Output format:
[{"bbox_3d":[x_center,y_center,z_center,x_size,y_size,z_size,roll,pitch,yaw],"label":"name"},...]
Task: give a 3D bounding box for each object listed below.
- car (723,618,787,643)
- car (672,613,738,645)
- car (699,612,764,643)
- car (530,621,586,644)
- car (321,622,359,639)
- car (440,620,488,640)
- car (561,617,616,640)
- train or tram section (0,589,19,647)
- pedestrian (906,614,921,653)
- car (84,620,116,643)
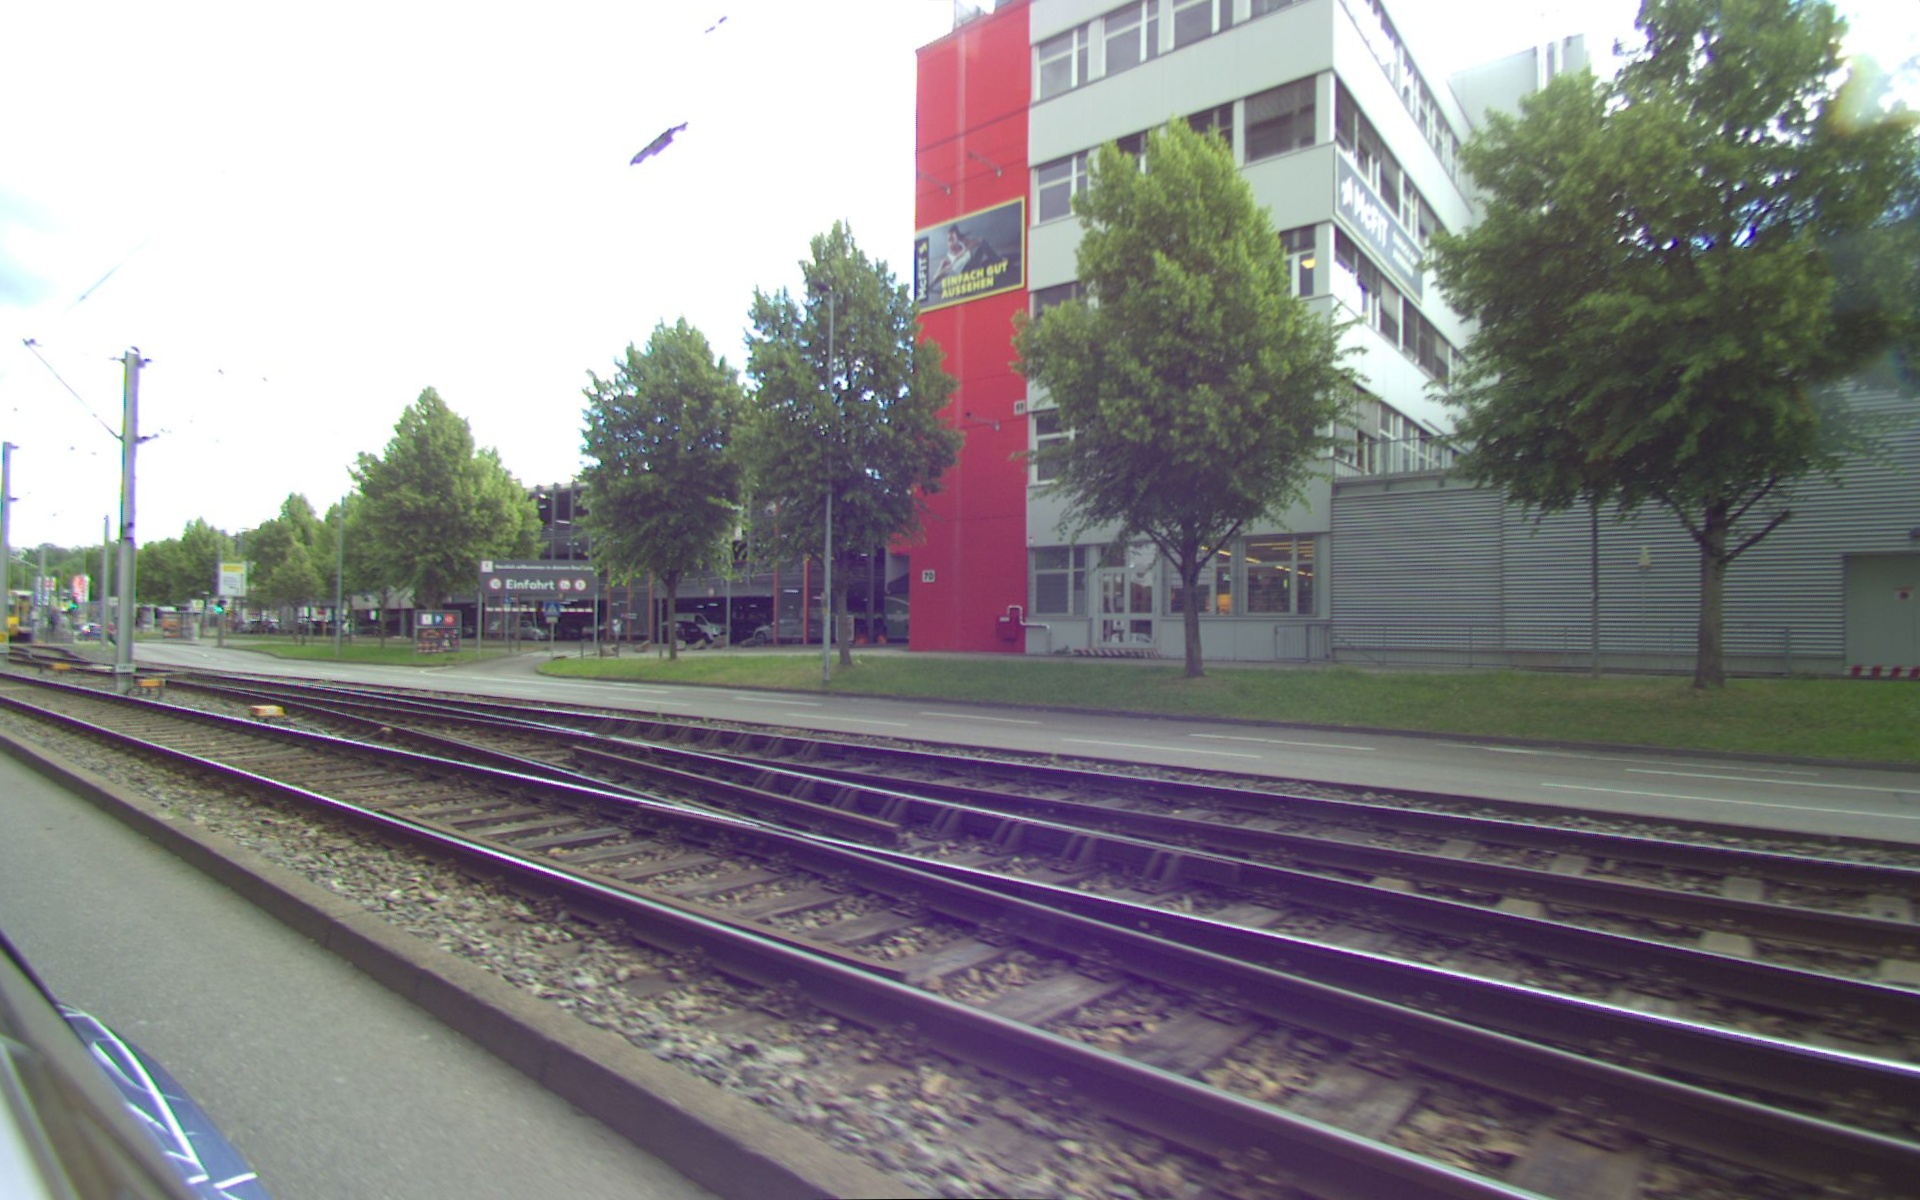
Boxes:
[{"bbox_3d":[-14.093,2.083,69.389,4.400,1.662,1.974,-1,-2,39],"label":"car"},{"bbox_3d":[-16.620,1.903,65.919,4.400,2.029,1.974,-1,-2,39],"label":"car"},{"bbox_3d":[-15.307,1.848,67.715,4.400,2.029,1.974,-1,-2,39],"label":"car"},{"bbox_3d":[-29.999,2.383,75.426,4.400,1.640,1.974,-1,-2,39],"label":"car"},{"bbox_3d":[-63.606,3.126,103.782,4.400,1.640,1.974,-1,-2,39],"label":"car"},{"bbox_3d":[-42.443,2.546,86.618,4.400,1.712,1.974,-1,-2,39],"label":"car"},{"bbox_3d":[-28.442,2.188,77.412,4.400,1.712,1.974,-1,-2,39],"label":"car"},{"bbox_3d":[-68.915,1.294,70.870,13.775,3.804,2.743,-1,-2,40],"label":"train or tram section"},{"bbox_3d":[-2.374,1.713,51.645,0.647,1.941,0.582,0,-2,9],"label":"pedestrian"},{"bbox_3d":[-76.428,2.790,89.917,1.969,2.029,4.004,1,-2,-42],"label":"car"}]
